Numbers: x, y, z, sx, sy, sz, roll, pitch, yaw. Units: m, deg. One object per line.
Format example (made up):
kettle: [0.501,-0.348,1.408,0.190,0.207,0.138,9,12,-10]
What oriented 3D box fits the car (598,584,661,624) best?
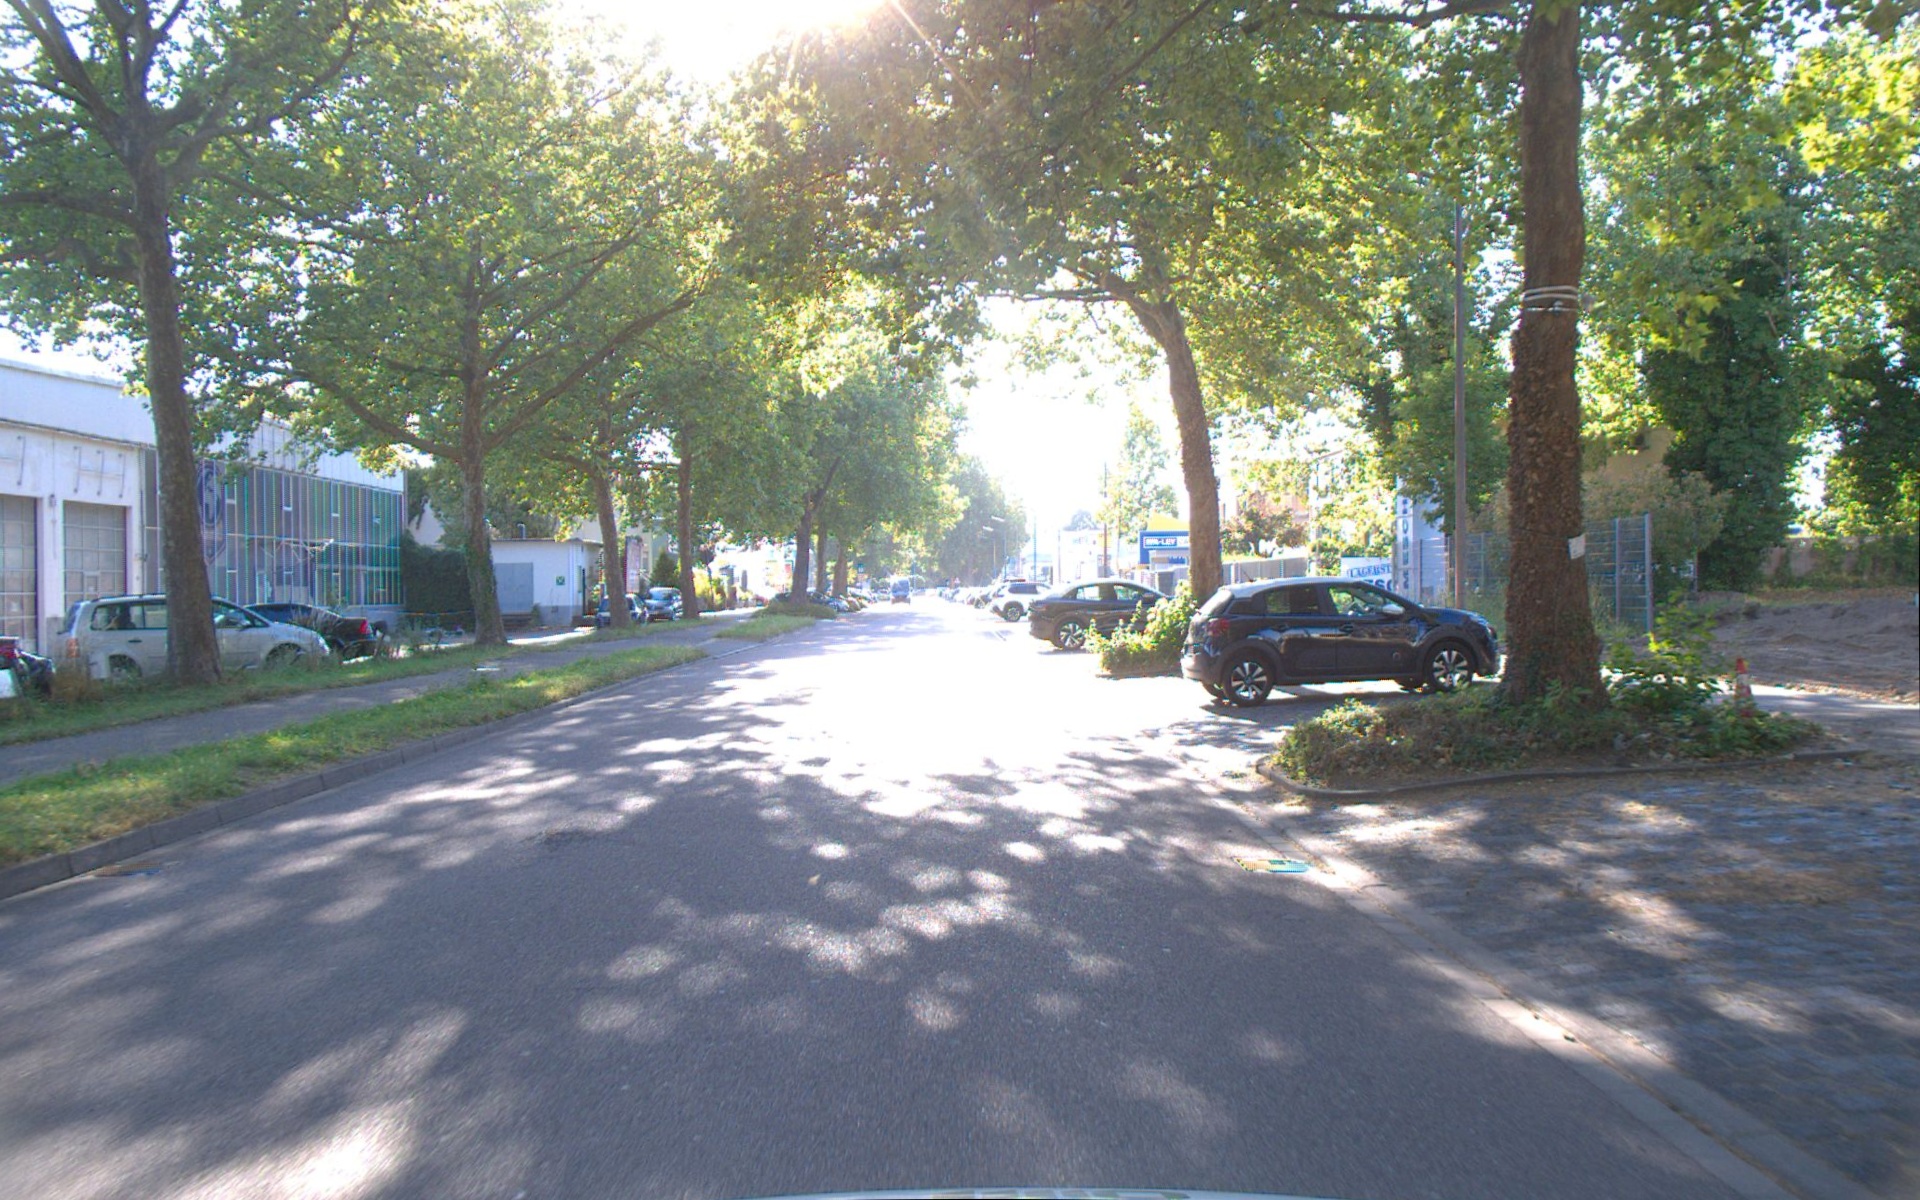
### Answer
car: [-13.070,0.174,65.568,1.956,1.393,3.916,-5,0,-6]

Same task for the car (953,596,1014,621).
car: [1.777,0.636,127.448,4.509,1.641,1.999,-3,-1,-2]

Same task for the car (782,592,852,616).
car: [-8.829,0.245,102.496,4.267,1.447,1.999,0,0,-4]

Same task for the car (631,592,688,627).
car: [-14.598,0.459,80.559,1.952,1.603,4.273,1,-1,0]

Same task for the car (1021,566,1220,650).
car: [3.874,0.192,40.347,4.480,1.745,1.941,-3,0,-5]

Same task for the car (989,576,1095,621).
car: [3.677,-0.074,74.883,4.533,1.741,1.999,-4,0,-3]

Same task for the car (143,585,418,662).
car: [-12.807,0.401,31.345,4.447,1.328,1.969,-1,0,-43]

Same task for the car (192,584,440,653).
car: [-13.343,0.342,34.418,4.447,1.328,1.969,-1,0,-43]

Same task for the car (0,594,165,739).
car: [-11.900,0.748,19.388,1.964,1.658,4.238,0,-1,41]

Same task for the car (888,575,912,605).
car: [-5.592,-0.959,154.375,2.084,2.706,7.000,-1,1,-1]

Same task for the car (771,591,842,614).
car: [-10.051,0.139,108.442,4.507,1.447,1.999,0,1,-2]

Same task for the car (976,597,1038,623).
car: [3.470,0.748,123.497,4.506,1.607,2.000,-4,-1,1]

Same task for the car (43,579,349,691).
car: [-13.060,0.592,28.385,4.439,1.761,1.972,1,-1,-39]

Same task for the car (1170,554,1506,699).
car: [4.696,0.328,20.912,3.710,1.512,1.860,-4,0,-3]
